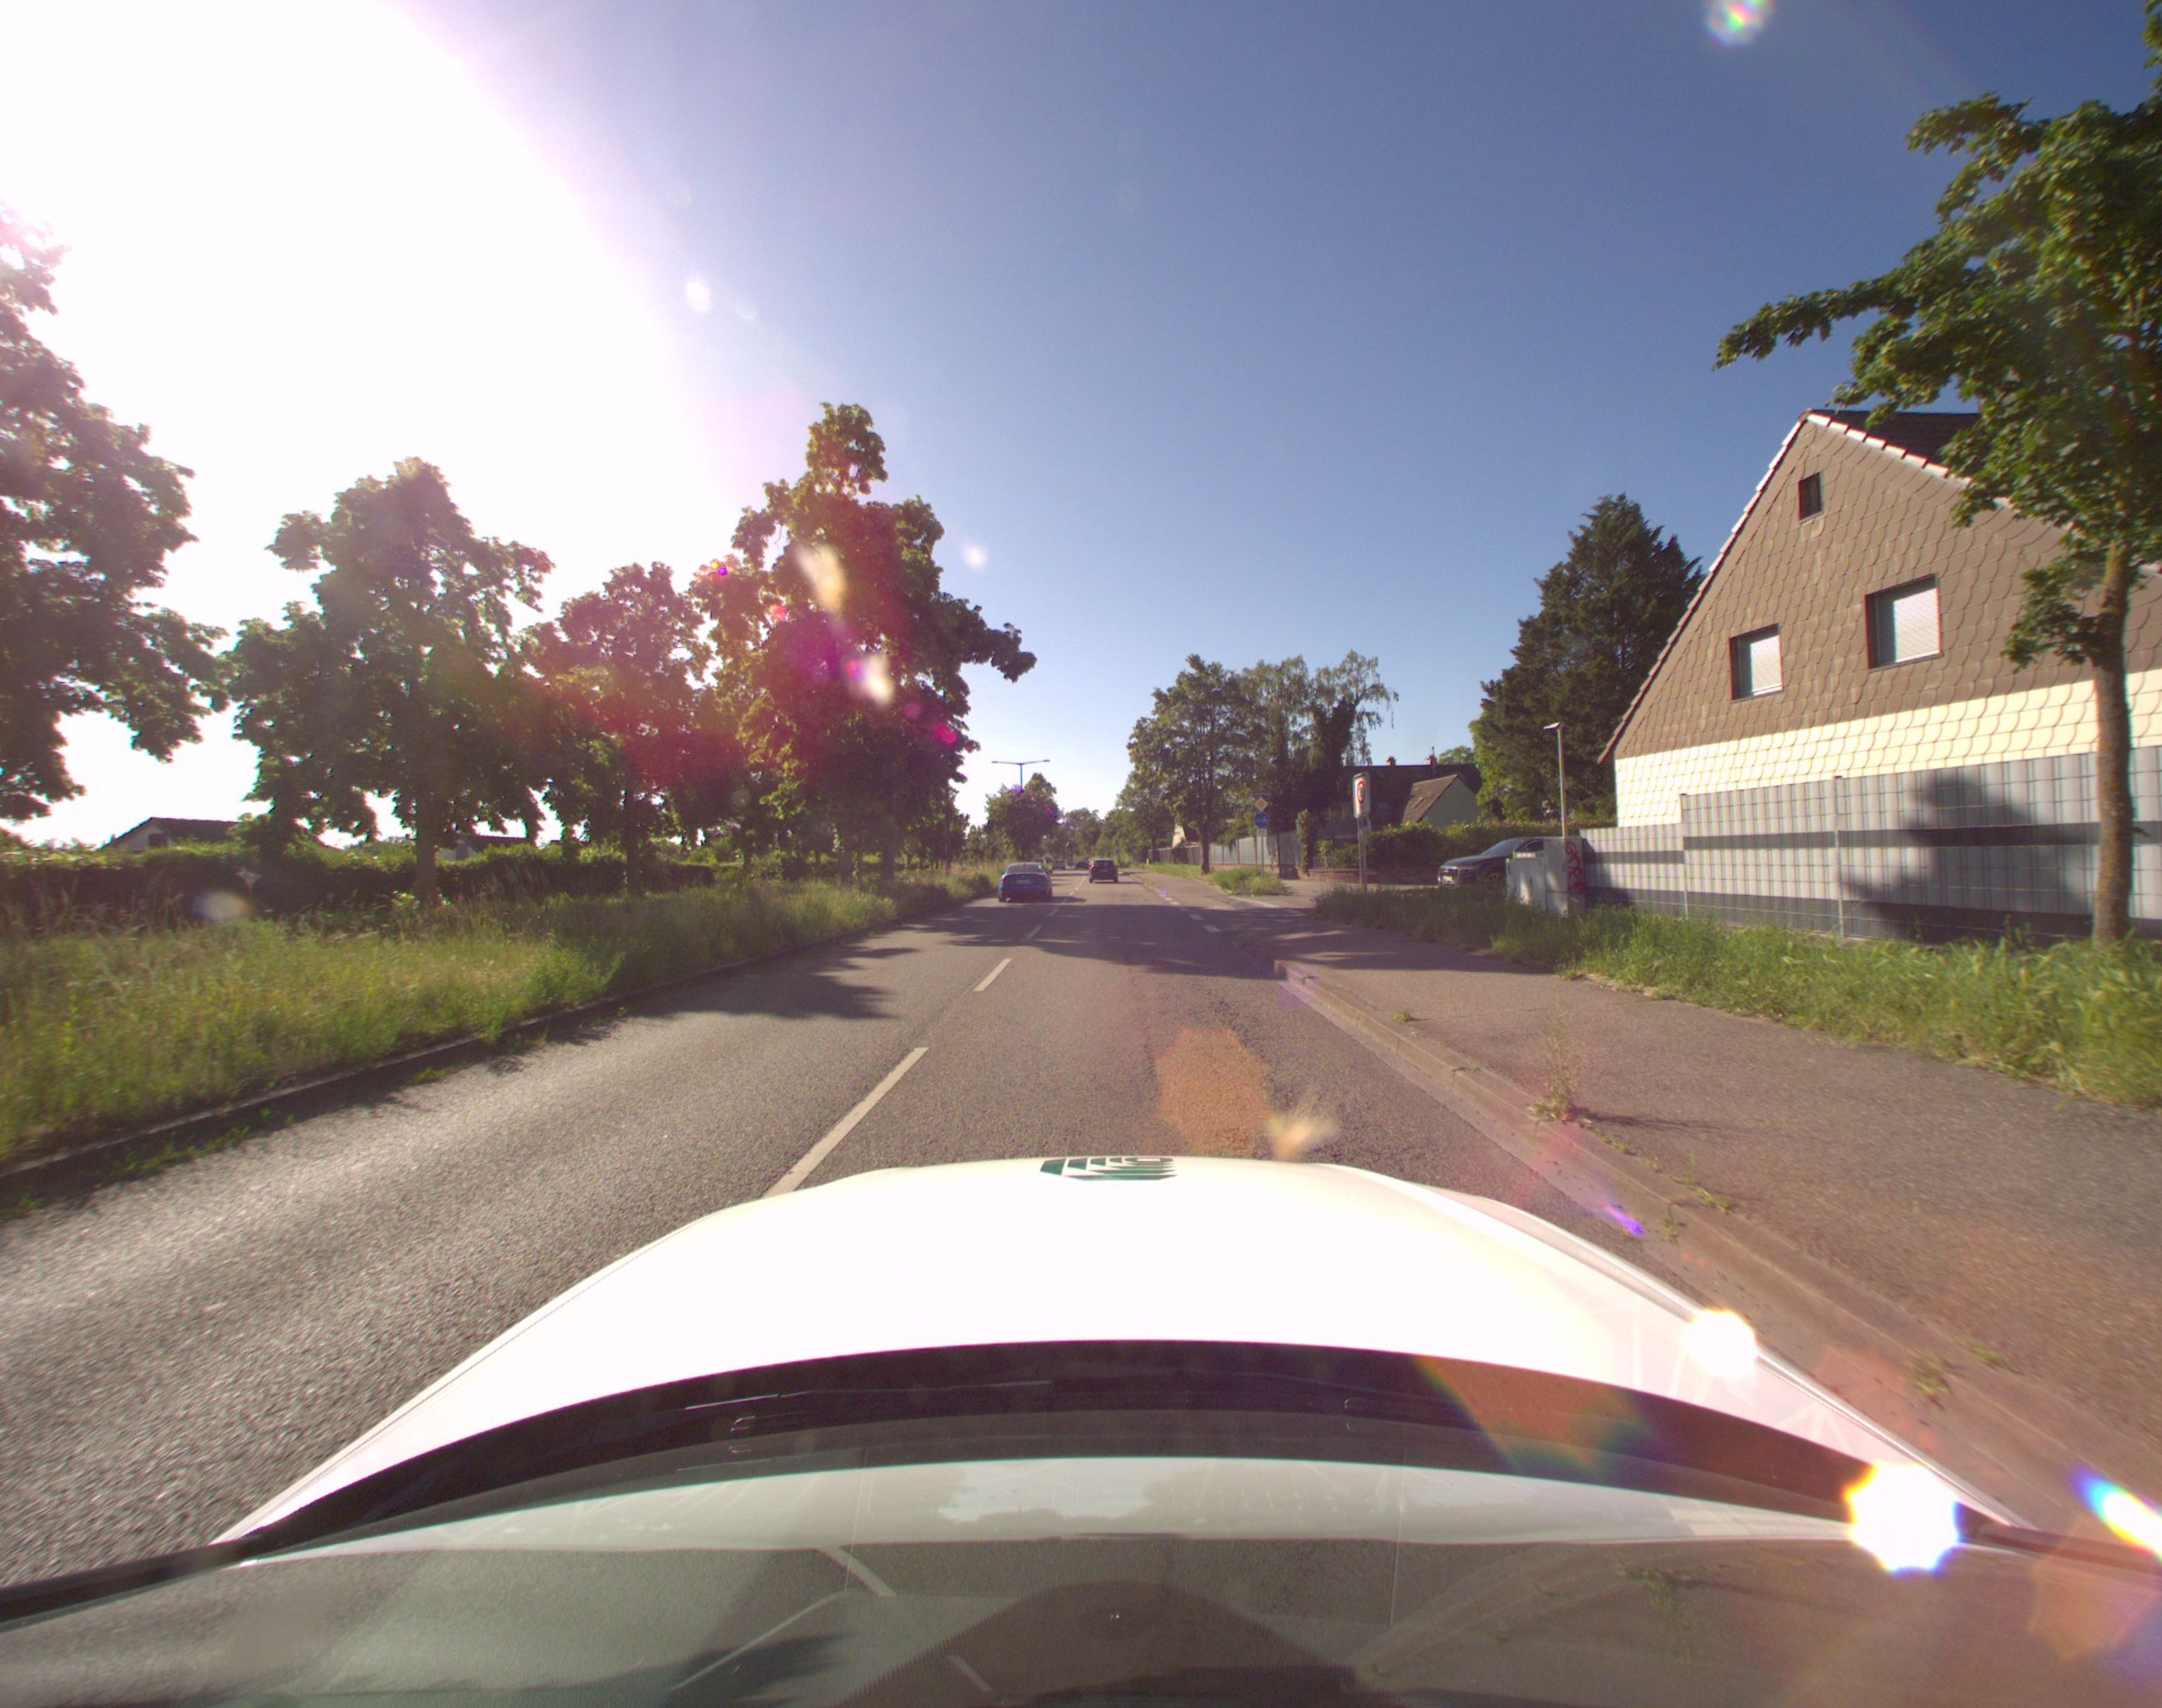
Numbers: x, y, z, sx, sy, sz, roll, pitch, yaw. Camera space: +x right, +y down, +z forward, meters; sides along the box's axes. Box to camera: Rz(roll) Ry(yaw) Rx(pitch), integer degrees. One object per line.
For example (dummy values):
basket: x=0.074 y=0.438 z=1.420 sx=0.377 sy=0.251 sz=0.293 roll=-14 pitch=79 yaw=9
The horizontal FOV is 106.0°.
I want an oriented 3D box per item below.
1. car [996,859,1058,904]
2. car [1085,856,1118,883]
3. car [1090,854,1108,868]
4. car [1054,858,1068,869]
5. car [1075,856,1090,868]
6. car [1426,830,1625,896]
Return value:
car: x=-1.965 y=0.994 z=30.773 sx=1.831 sy=1.474 sz=4.187 roll=-3 pitch=0 yaw=3
car: x=1.244 y=0.955 z=50.372 sx=1.909 sy=1.579 sz=4.182 roll=-1 pitch=-1 yaw=1
car: x=2.080 y=0.803 z=95.693 sx=1.909 sy=1.579 sz=4.181 roll=-1 pitch=-1 yaw=0
car: x=-2.842 y=1.343 z=117.377 sx=1.909 sy=1.512 sz=4.066 roll=-1 pitch=0 yaw=0
car: x=0.212 y=1.224 z=121.263 sx=1.912 sy=1.678 sz=4.004 roll=-1 pitch=-1 yaw=-6
car: x=12.864 y=0.255 z=23.737 sx=4.734 sy=1.656 sz=2.068 roll=-2 pitch=0 yaw=-5
